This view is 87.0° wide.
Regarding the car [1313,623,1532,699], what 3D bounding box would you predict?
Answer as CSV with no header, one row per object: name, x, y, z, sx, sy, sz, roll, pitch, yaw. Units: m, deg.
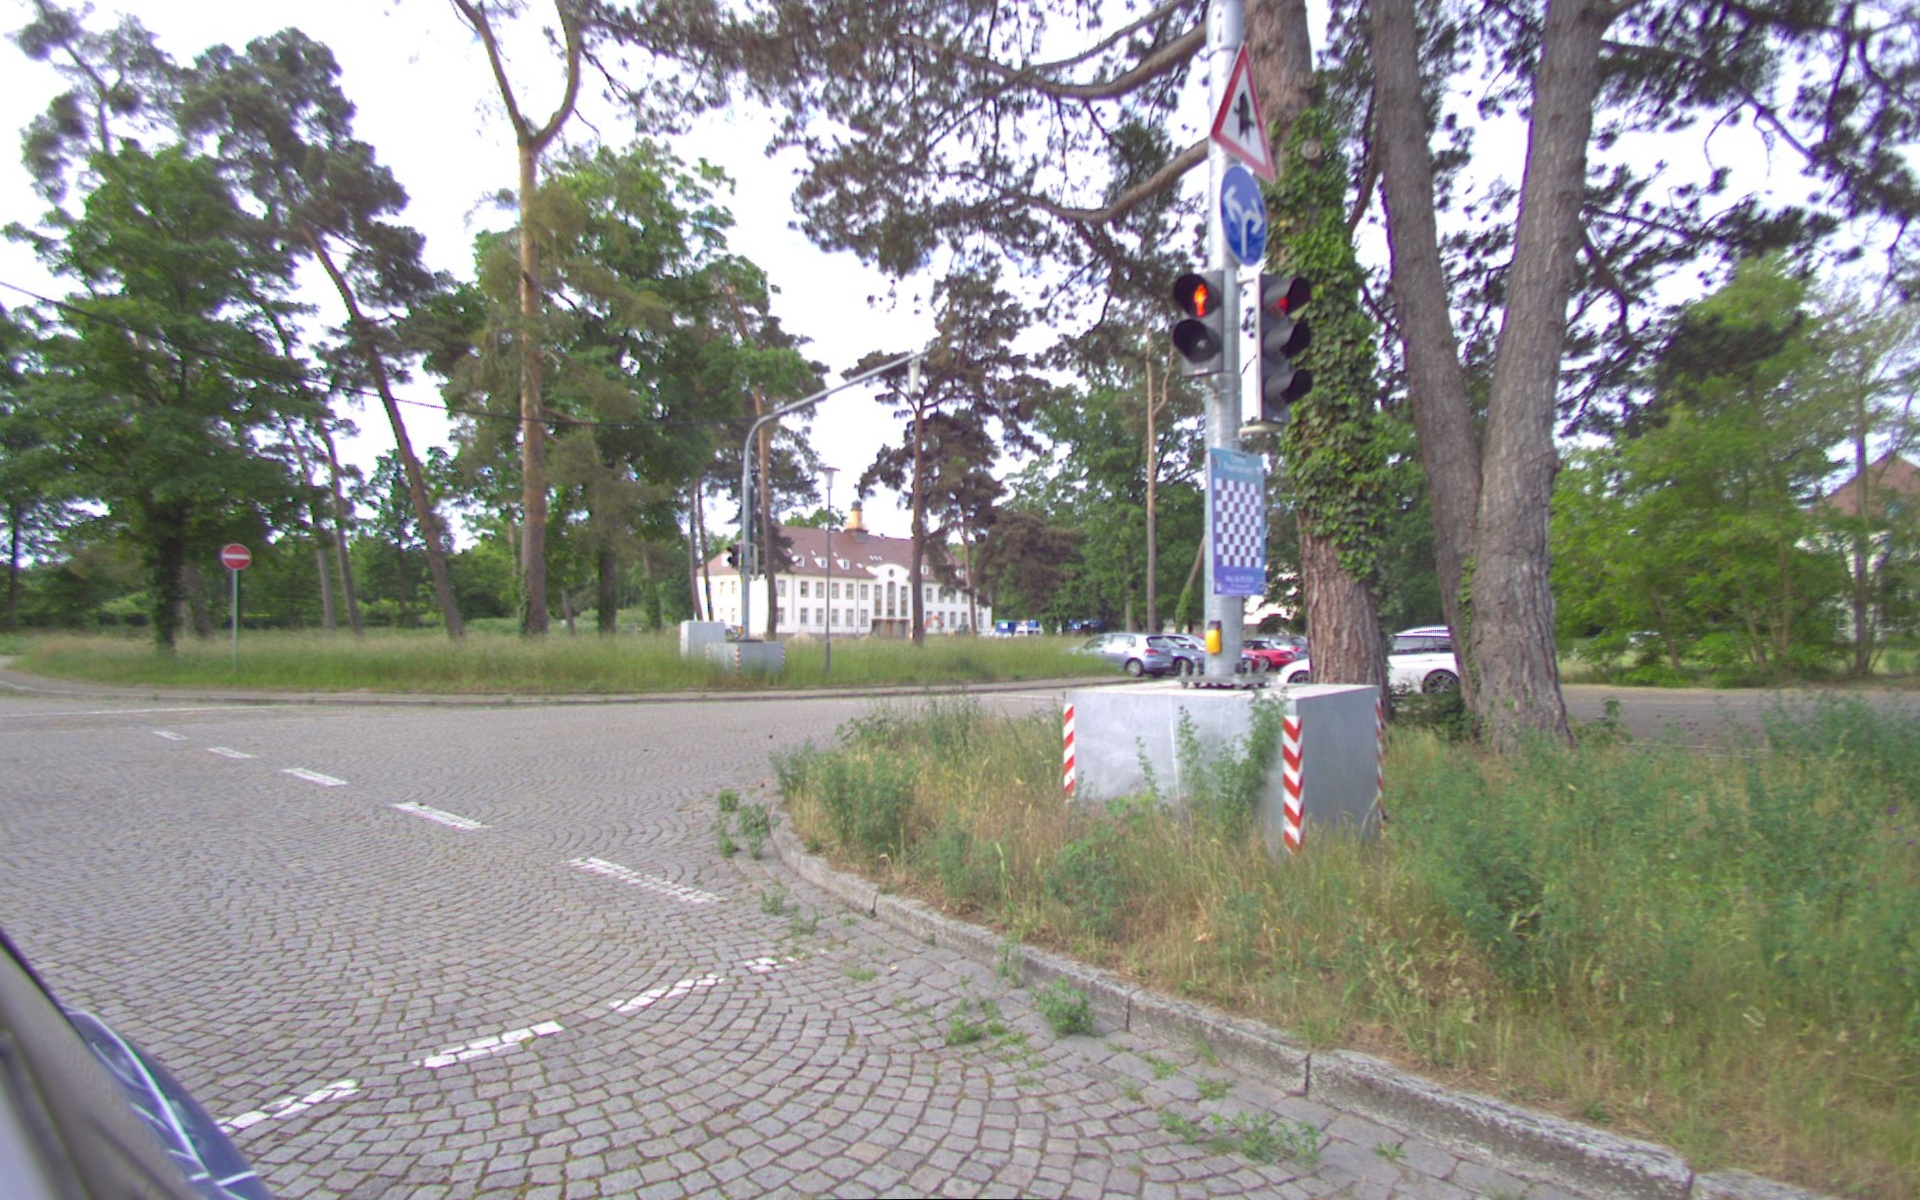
car,10.766,1.464,23.700,4.319,1.596,1.804,-5,-5,38

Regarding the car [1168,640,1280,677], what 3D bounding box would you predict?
car,10.410,2.283,40.066,3.999,1.364,1.667,-2,-3,42

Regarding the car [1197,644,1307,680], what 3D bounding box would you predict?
car,11.920,2.499,41.459,3.999,1.364,1.667,-2,-3,42

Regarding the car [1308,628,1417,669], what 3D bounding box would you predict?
car,20.587,2.508,51.851,4.791,1.996,1.970,-3,-4,41

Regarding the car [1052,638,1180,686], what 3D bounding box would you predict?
car,5.229,2.047,34.139,3.997,1.484,1.668,-2,-3,40

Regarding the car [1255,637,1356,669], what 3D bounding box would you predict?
car,15.483,2.361,45.462,3.999,1.364,1.667,-2,-3,42

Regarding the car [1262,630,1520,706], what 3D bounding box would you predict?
car,9.094,1.463,21.596,4.734,1.453,1.792,-4,-4,38

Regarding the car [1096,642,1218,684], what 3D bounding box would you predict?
car,6.965,2.207,35.968,3.999,1.364,1.667,-2,-3,42

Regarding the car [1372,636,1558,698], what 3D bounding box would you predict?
car,13.844,1.782,27.882,4.320,1.578,1.776,-2,-3,38

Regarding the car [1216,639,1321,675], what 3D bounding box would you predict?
car,13.313,2.427,43.779,3.999,1.449,1.667,-2,-3,42

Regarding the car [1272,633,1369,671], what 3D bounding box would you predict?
car,17.064,2.481,48.039,4.000,1.727,1.667,-3,-4,43

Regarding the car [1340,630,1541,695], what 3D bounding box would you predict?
car,12.276,1.633,26.007,4.319,1.513,1.837,-5,-5,38

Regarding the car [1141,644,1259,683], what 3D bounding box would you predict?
car,8.951,2.332,37.863,3.999,1.364,1.667,-2,-3,42
